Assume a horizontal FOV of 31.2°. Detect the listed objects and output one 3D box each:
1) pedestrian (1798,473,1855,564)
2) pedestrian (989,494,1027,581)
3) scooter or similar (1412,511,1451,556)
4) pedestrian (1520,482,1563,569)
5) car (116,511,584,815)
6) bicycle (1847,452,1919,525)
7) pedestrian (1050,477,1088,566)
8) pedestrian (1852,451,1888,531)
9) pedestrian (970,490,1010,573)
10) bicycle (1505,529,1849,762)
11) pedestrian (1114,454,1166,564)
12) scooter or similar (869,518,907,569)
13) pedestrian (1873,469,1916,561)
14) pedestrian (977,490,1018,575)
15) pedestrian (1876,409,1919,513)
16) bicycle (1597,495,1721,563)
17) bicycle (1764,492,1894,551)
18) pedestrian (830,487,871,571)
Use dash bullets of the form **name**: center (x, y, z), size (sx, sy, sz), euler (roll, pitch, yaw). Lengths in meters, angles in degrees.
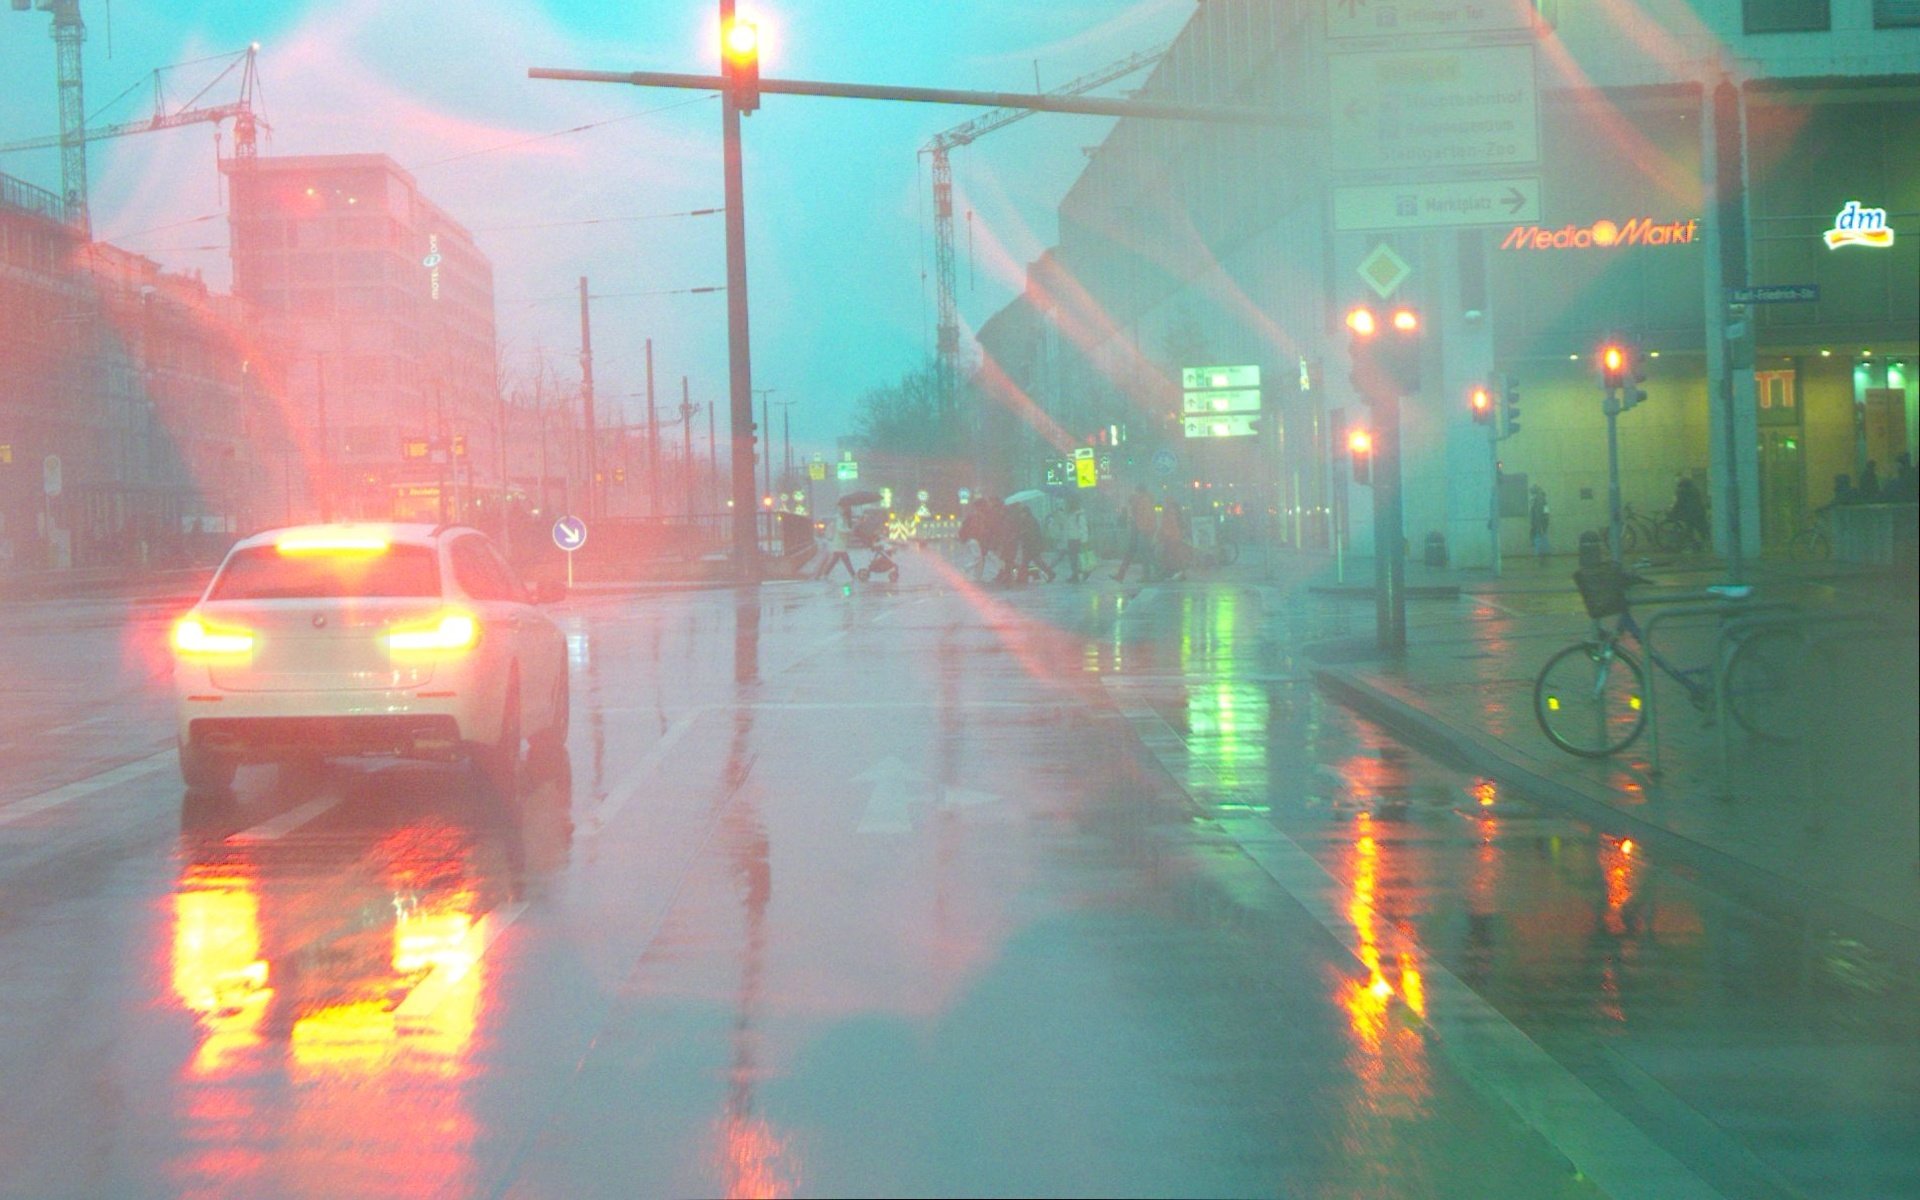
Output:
- **pedestrian**: center (15.166, -1.427, 60.159), size (0.814, 1.564, 0.536), euler (-3, 1, 2)
- **pedestrian**: center (0.983, -1.282, 70.690), size (0.702, 1.754, 0.667), euler (-3, 1, 1)
- **scooter or similar**: center (10.082, -1.422, 73.504), size (0.741, 0.913, 0.400), euler (-3, 1, 3)
- **pedestrian**: center (12.036, -1.544, 71.183), size (0.703, 1.754, 0.652), euler (-3, 1, 1)
- **car**: center (-3.509, 0.270, 20.726), size (1.909, 1.515, 4.924), euler (-3, 2, 0)
- **bicycle**: center (14.841, -1.756, 53.711), size (1.846, 1.089, 0.617), euler (-2, 1, 16)
- **pedestrian**: center (2.179, -1.576, 68.745), size (0.619, 1.740, 0.613), euler (-3, 1, -4)
- **pedestrian**: center (19.777, -2.373, 74.742), size (0.536, 1.712, 0.501), euler (-1, 2, 39)
- **pedestrian**: center (0.609, -1.375, 68.580), size (0.706, 1.613, 0.680), euler (-3, 1, 2)
- **bicycle**: center (3.982, 0.243, 19.128), size (1.750, 1.144, 0.436), euler (-4, 1, -3)
- **pedestrian**: center (3.495, -1.767, 66.699), size (0.686, 2.080, 0.613), euler (-4, 2, -39)
- **scooter or similar**: center (-1.465, -1.151, 69.853), size (0.741, 0.990, 0.400), euler (-3, 1, -1)
- **pedestrian**: center (17.377, -1.584, 63.938), size (0.536, 1.679, 0.548), euler (-1, 2, 39)
- **pedestrian**: center (0.732, -1.324, 66.900), size (0.706, 1.613, 0.613), euler (-3, 1, -1)
- **pedestrian**: center (14.755, -2.169, 53.700), size (0.781, 1.590, 0.612), euler (-2, 2, 16)
- **bicycle**: center (14.686, -1.490, 72.243), size (2.425, 1.324, 0.635), euler (-2, 2, -4)
- **bicycle**: center (15.191, -1.369, 60.112), size (2.128, 0.988, 0.541), euler (-1, 1, 1)
- **pedestrian**: center (-2.226, -1.442, 69.832), size (0.741, 1.661, 0.400), euler (-3, 1, -1)
